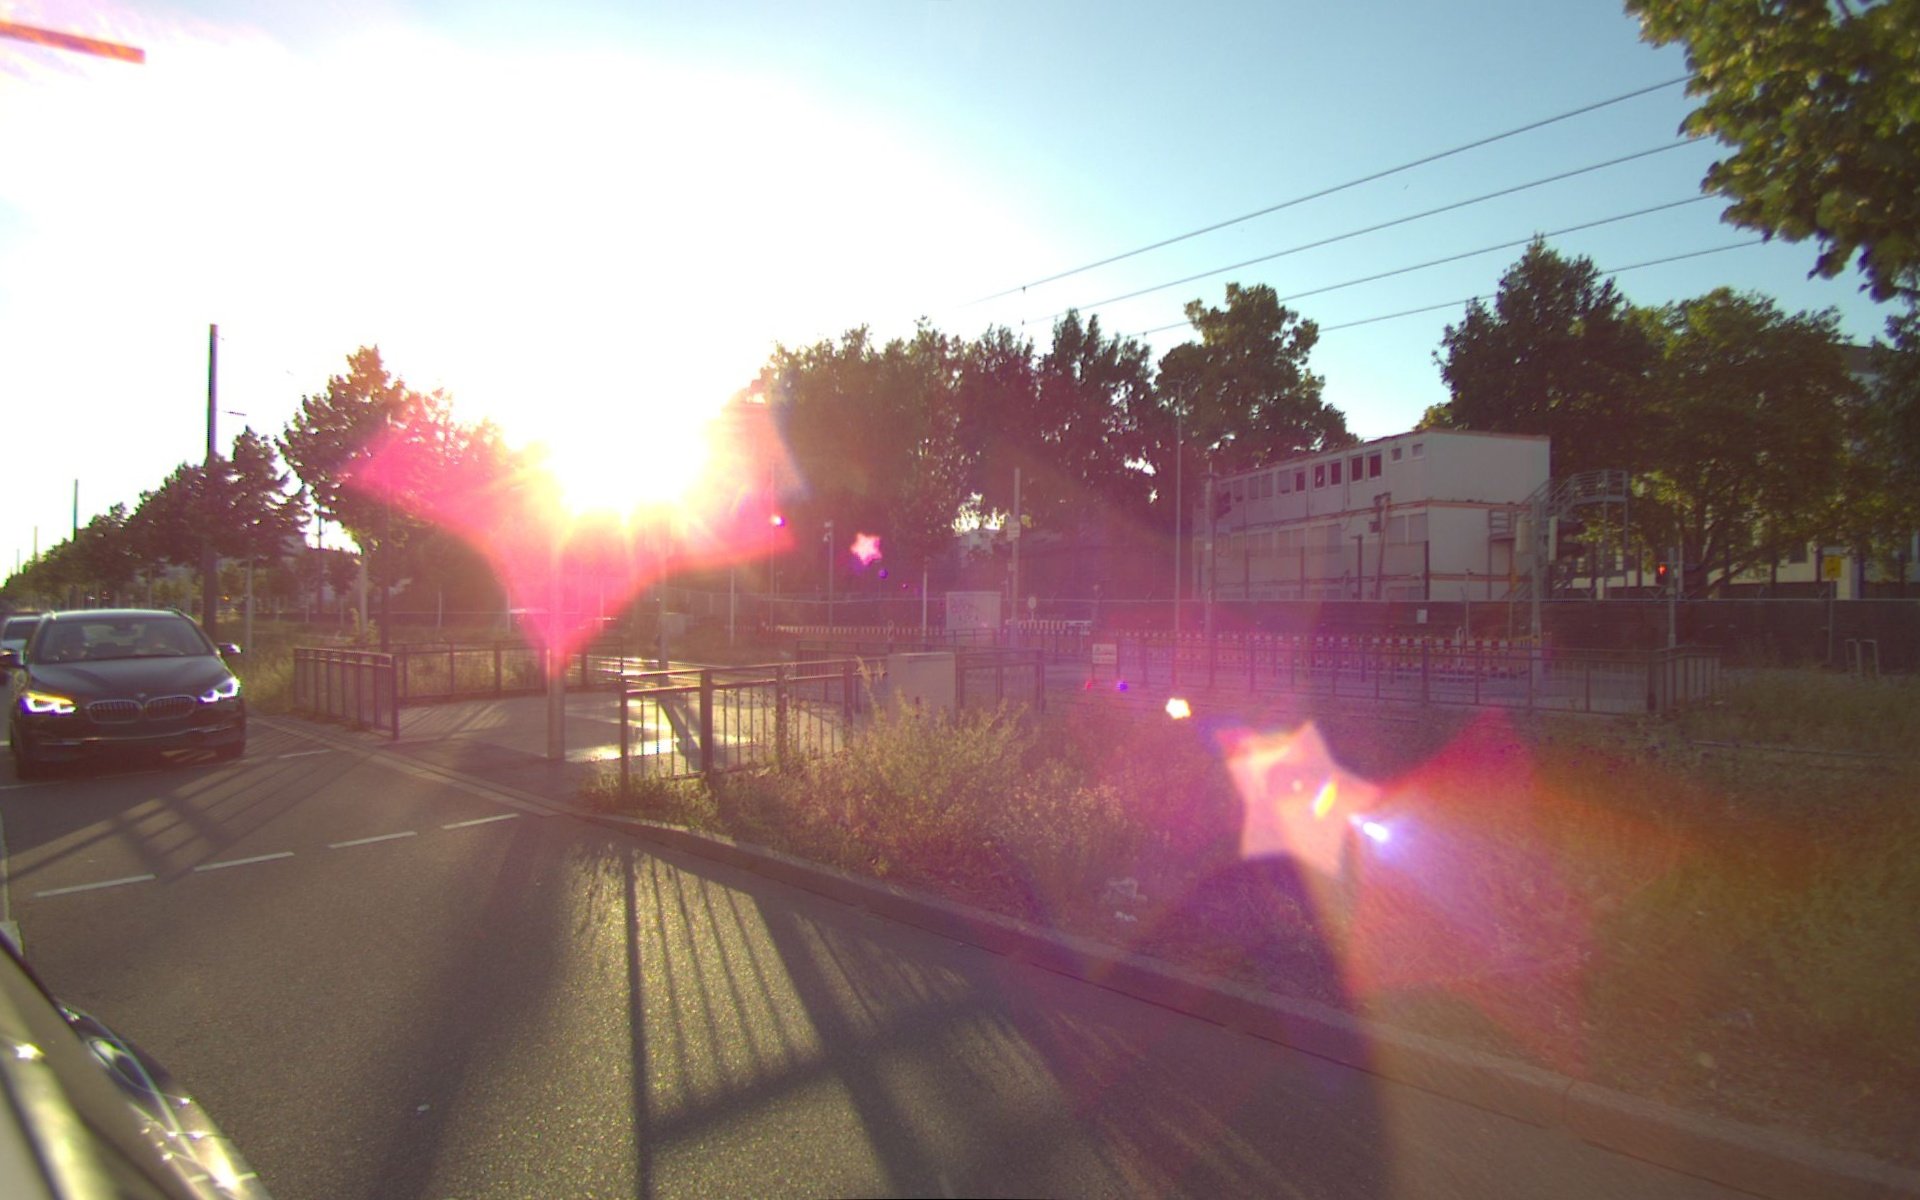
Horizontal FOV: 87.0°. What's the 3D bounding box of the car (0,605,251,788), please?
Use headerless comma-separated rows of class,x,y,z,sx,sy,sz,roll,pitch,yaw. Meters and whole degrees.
car,-9.165,0.850,10.966,1.799,1.530,4.796,-1,0,-43

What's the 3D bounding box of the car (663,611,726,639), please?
car,-14.173,1.316,53.923,1.671,1.380,3.698,-2,1,-42

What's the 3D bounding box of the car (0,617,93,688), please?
car,-21.791,1.171,23.788,1.807,1.475,4.305,-2,1,-45

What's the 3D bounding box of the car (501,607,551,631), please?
car,-29.957,1.325,69.808,3.801,1.572,1.823,-1,1,44

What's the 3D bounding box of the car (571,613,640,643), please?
car,-17.964,1.407,51.196,3.718,1.380,1.747,-1,1,43
